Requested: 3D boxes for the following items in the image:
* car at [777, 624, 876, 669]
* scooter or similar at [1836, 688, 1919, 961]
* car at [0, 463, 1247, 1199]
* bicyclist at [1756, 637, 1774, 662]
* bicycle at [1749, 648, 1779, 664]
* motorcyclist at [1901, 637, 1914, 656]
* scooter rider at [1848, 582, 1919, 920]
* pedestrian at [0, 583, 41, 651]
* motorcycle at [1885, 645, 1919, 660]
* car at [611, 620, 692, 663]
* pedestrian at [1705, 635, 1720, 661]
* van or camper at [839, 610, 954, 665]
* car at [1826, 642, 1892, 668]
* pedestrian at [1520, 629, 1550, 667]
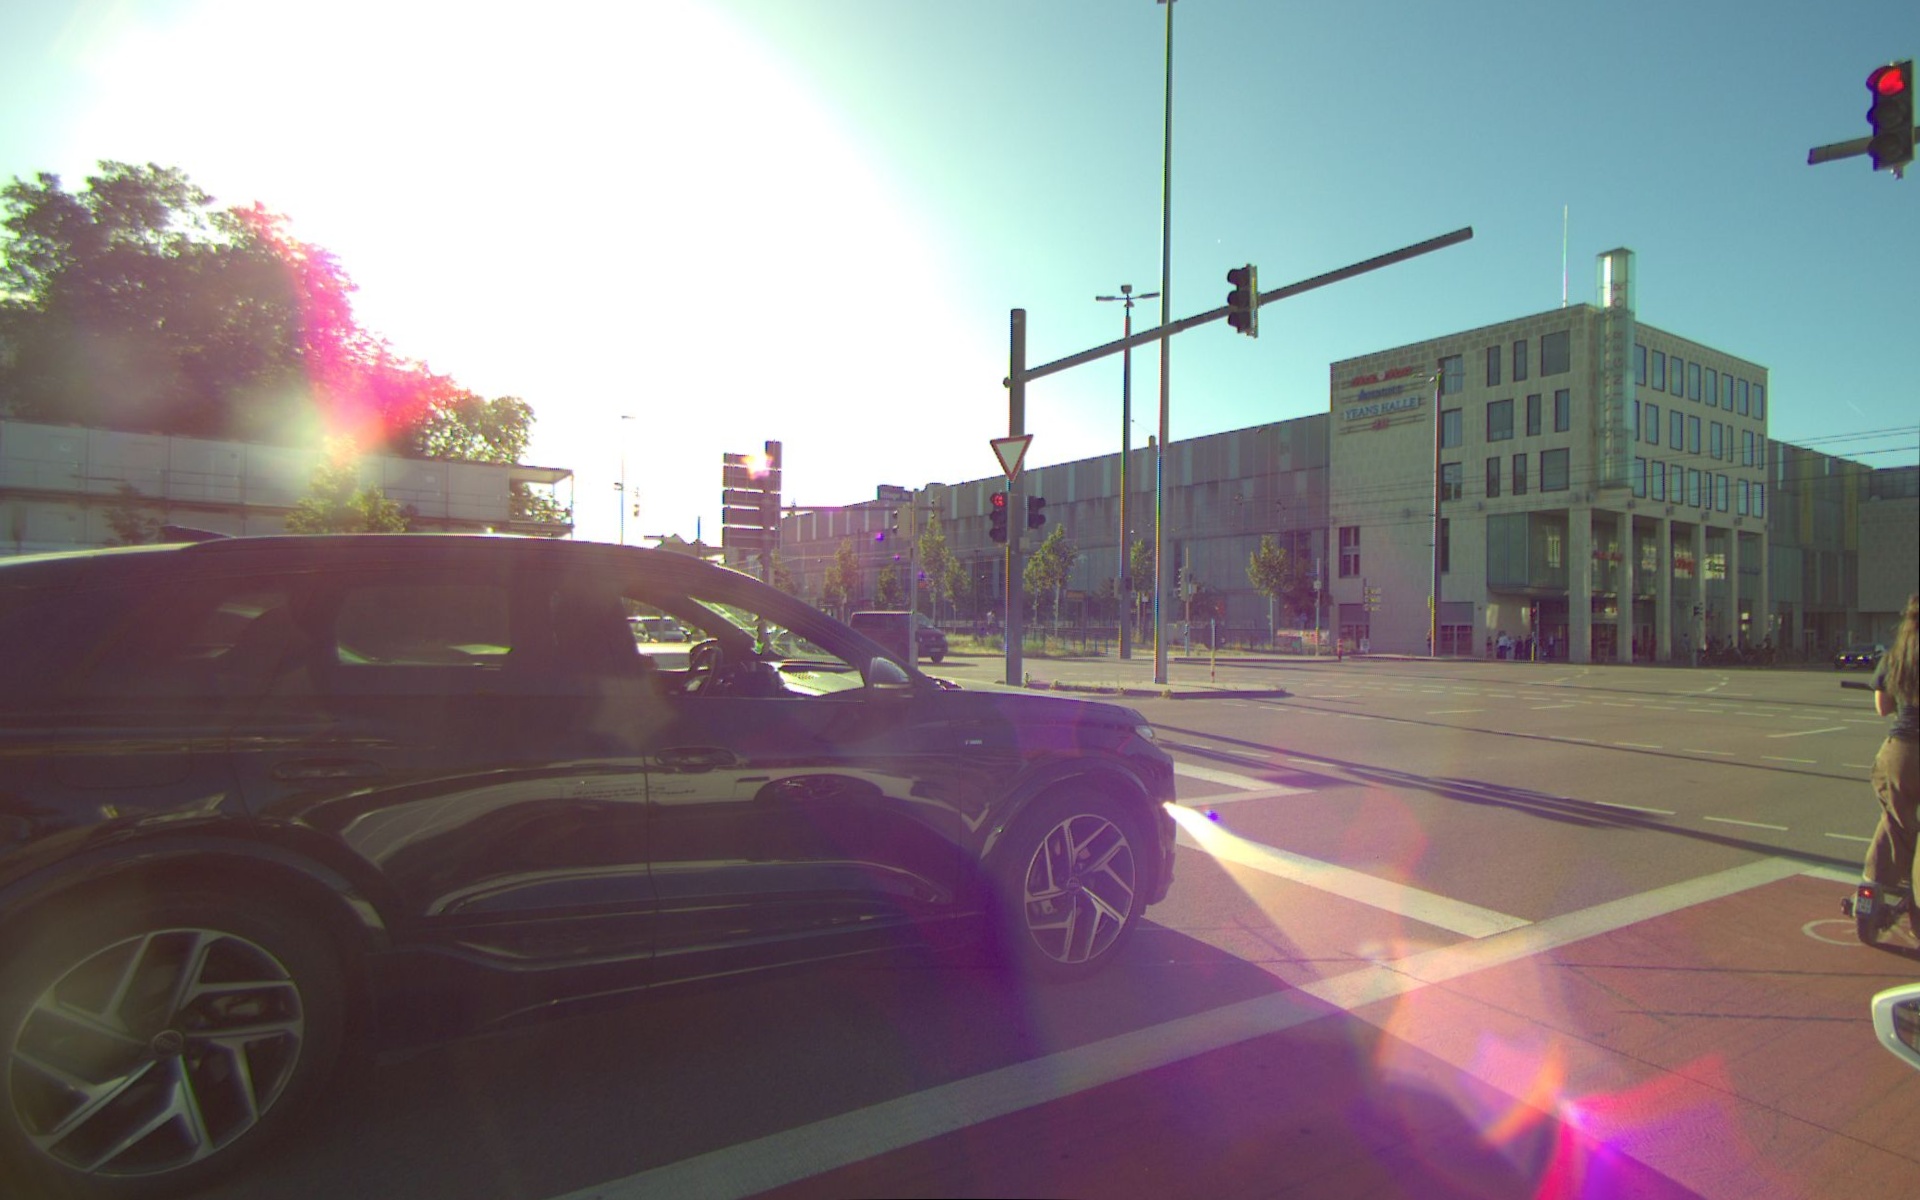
[{"bbox_3d":[-4.789,1.613,35.665,1.865,1.500,3.940,1,-2,-36],"label":"car"},{"bbox_3d":[4.351,0.997,4.680,0.832,1.122,0.303,2,-1,-42],"label":"scooter or similar"},{"bbox_3d":[-1.265,0.604,4.056,4.613,1.729,2.154,1,-1,-32],"label":"car"},{"bbox_3d":[47.240,2.891,58.934,0.581,1.467,0.623,1,-1,-28],"label":"bicyclist"},{"bbox_3d":[47.097,3.282,58.826,2.191,0.915,0.633,1,-1,-29],"label":"bicycle"},{"bbox_3d":[71.010,3.480,75.258,0.657,1.424,0.623,2,0,-38],"label":"motorcyclist"},{"bbox_3d":[4.607,0.698,4.742,0.445,1.550,0.548,1,-1,-38],"label":"scooter rider"},{"bbox_3d":[-22.858,0.411,24.451,0.591,1.624,0.583,2,0,-33],"label":"pedestrian"},{"bbox_3d":[70.924,3.925,75.001,1.106,1.006,2.582,2,0,-38],"label":"motorcycle"},{"bbox_3d":[-14.720,1.924,47.733,1.874,1.947,4.871,2,-2,-41],"label":"car"},{"bbox_3d":[49.596,3.160,66.203,0.622,1.667,0.589,1,-1,-30],"label":"pedestrian"},{"bbox_3d":[-2.574,1.424,39.743,1.992,2.040,4.783,2,-2,-42],"label":"van or camper"},{"bbox_3d":[49.707,3.003,55.511,3.975,1.375,1.668,1,-1,-31],"label":"car"},{"bbox_3d":[26.169,2.193,45.707,0.994,1.697,0.818,1,-1,-33],"label":"pedestrian"}]
